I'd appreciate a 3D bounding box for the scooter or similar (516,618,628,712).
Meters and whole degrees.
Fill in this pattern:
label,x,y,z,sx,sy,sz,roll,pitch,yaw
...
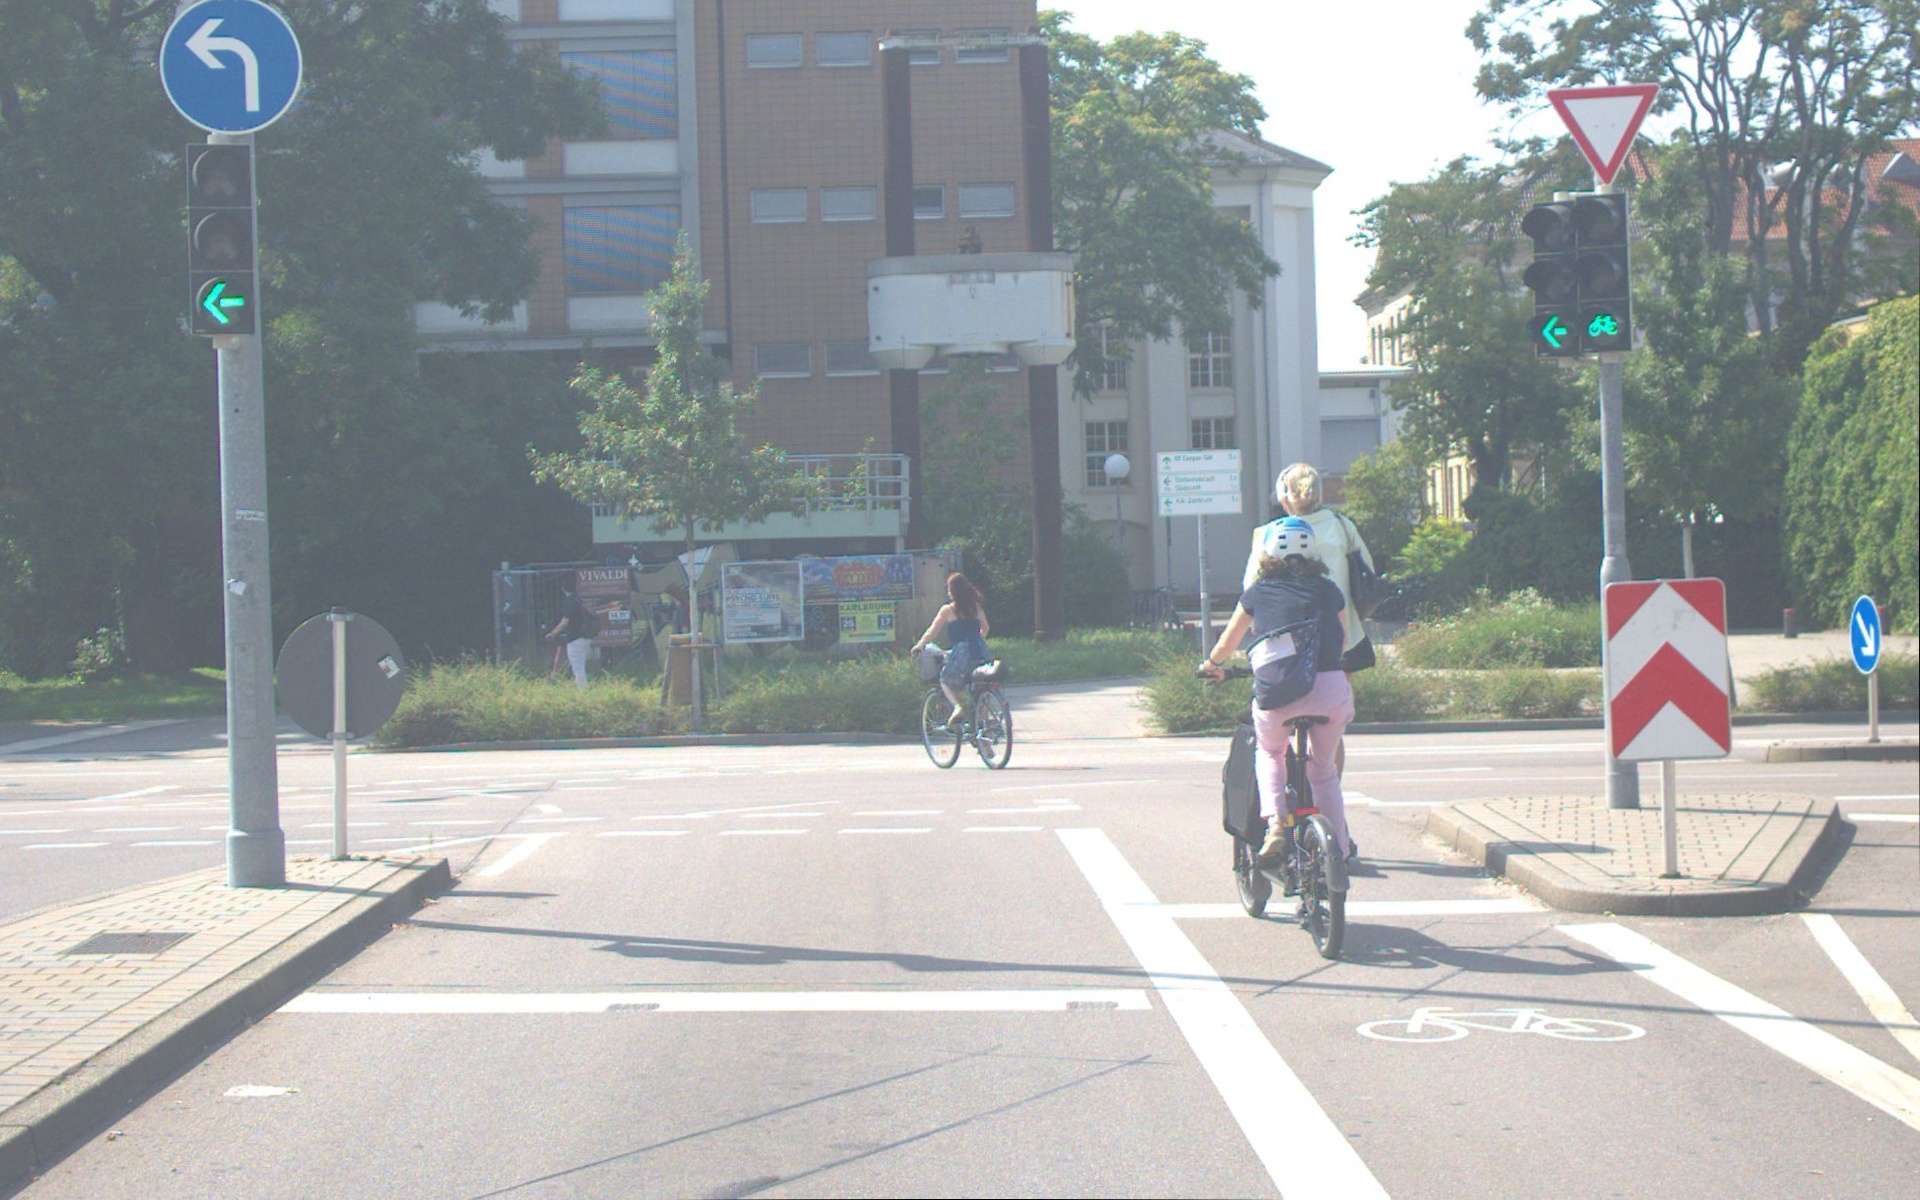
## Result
label,x,y,z,sx,sy,sz,roll,pitch,yaw
scooter or similar,-5.290,0.883,46.858,1.364,1.230,0.585,-2,0,15

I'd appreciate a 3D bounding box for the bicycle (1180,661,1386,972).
label,x,y,z,sx,sy,sz,roll,pitch,yaw
bicycle,1.232,0.801,13.427,0.556,1.056,2.004,0,1,-2

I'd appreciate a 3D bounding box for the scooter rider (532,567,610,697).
label,x,y,z,sx,sy,sz,roll,pitch,yaw
scooter rider,-5.288,0.435,46.783,0.803,1.733,0.688,-2,0,15

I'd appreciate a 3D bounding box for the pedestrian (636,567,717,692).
label,x,y,z,sx,sy,sz,roll,pitch,yaw
pedestrian,-3.990,0.415,48.439,0.877,1.698,0.707,-2,2,16

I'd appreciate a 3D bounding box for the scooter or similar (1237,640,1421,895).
label,x,y,z,sx,sy,sz,roll,pitch,yaw
scooter or similar,1.711,0.751,16.182,0.556,1.056,2.004,-2,1,-2

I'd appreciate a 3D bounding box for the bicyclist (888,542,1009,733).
label,x,y,z,sx,sy,sz,roll,pitch,yaw
bicyclist,-0.103,0.314,29.866,0.690,1.593,0.844,-3,2,-27

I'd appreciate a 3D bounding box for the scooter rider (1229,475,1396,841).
label,x,y,z,sx,sy,sz,roll,pitch,yaw
scooter rider,1.673,0.266,16.380,0.670,1.694,0.539,-2,1,-2

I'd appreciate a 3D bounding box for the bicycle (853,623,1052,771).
label,x,y,z,sx,sy,sz,roll,pitch,yaw
bicycle,-0.089,0.818,29.908,0.693,1.151,2.371,-3,2,-27

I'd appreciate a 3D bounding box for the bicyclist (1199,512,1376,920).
label,x,y,z,sx,sy,sz,roll,pitch,yaw
bicyclist,1.234,0.424,13.052,0.548,1.491,0.804,-1,0,-2
